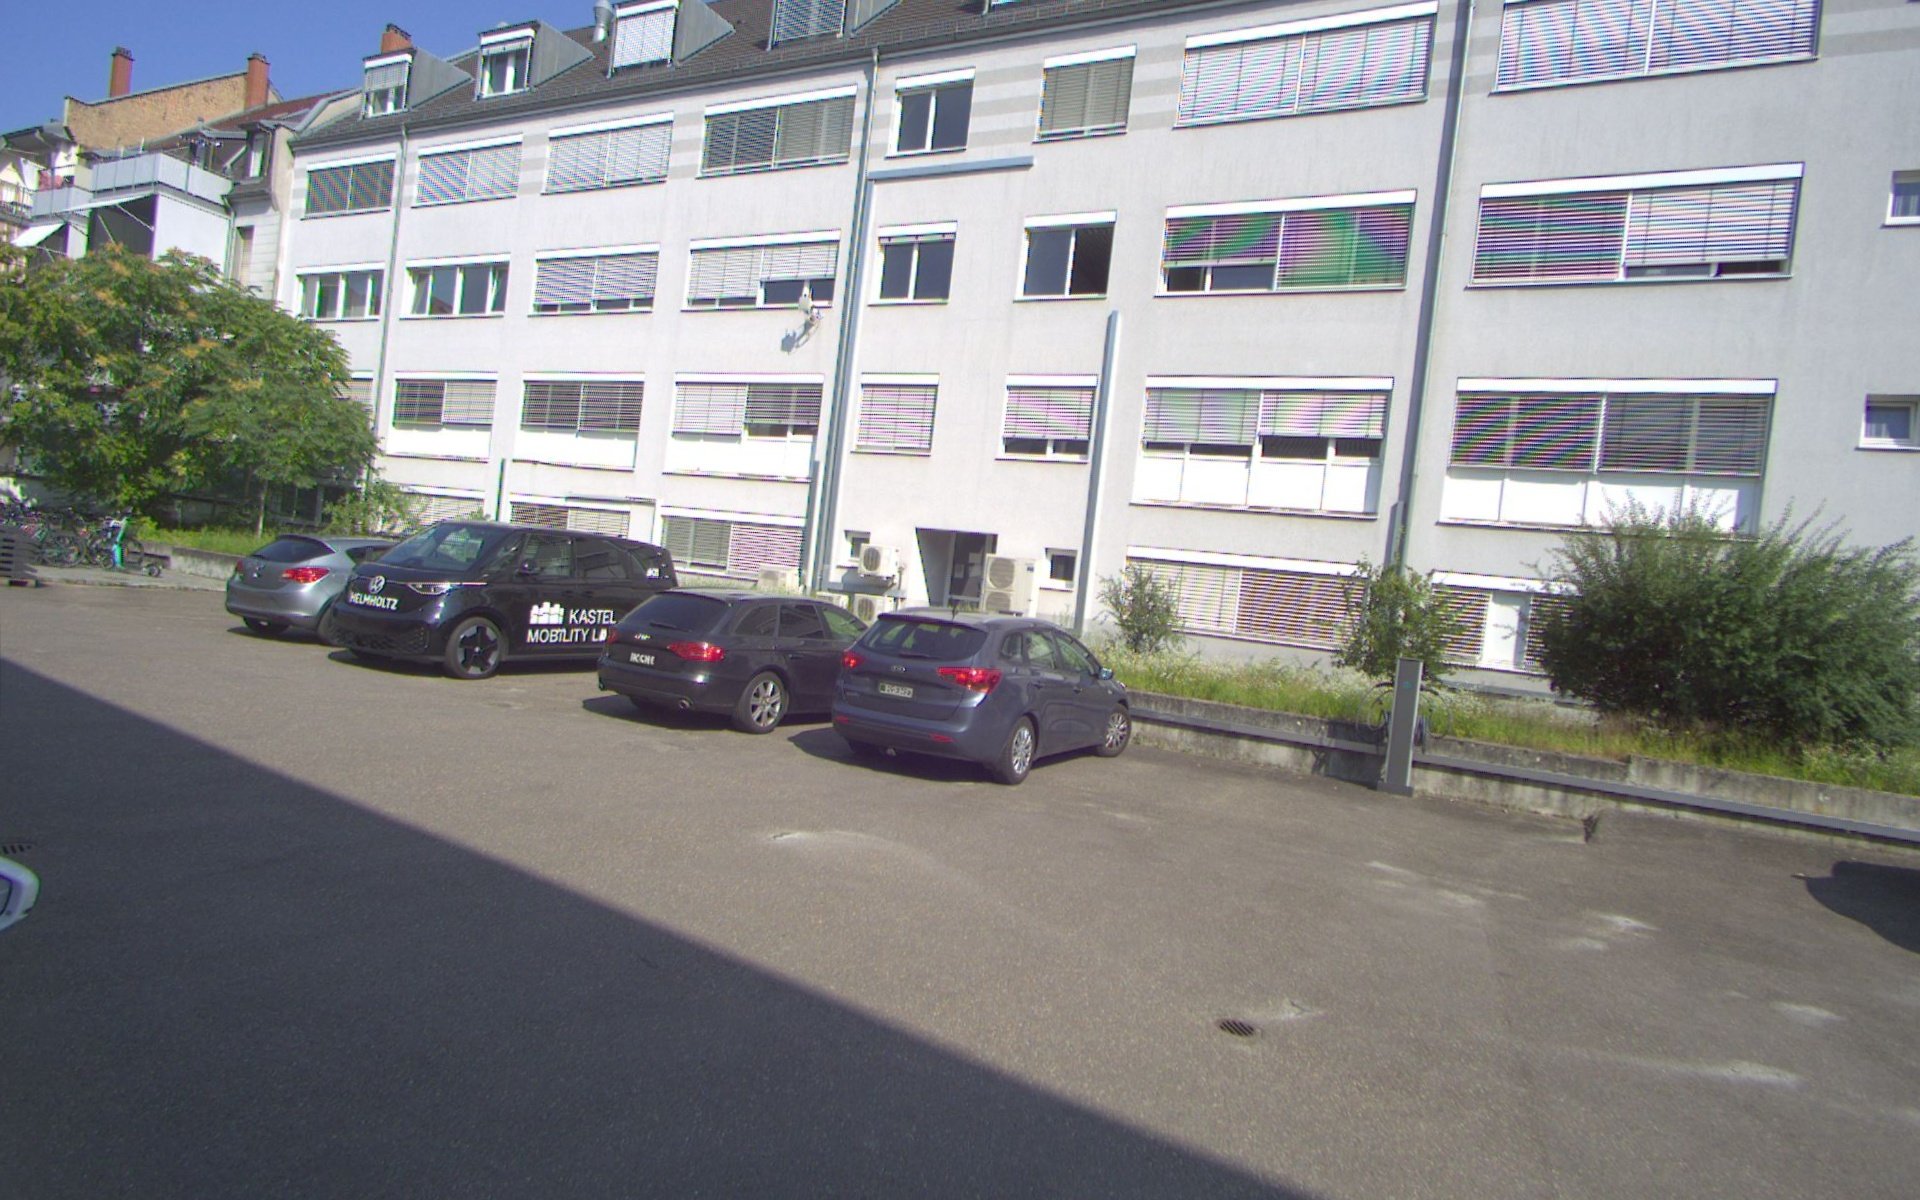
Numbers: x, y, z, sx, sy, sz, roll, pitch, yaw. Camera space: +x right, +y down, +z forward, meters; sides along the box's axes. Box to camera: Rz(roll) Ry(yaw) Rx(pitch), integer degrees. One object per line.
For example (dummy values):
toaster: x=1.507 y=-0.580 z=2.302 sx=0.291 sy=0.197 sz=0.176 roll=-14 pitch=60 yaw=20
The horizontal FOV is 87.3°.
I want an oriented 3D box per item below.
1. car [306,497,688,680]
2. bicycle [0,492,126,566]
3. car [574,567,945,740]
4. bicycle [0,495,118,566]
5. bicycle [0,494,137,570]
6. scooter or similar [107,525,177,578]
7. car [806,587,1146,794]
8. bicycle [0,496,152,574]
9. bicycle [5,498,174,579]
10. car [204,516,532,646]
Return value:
car: x=-5.857 y=-0.066 z=13.391 sx=1.880 sy=1.882 sz=4.346 roll=7 pitch=1 yaw=23
bicycle: x=-19.146 y=-1.493 z=21.098 sx=0.518 sy=1.261 sz=2.414 roll=7 pitch=-1 yaw=32
car: x=-2.044 y=0.605 z=11.547 sx=1.662 sy=1.455 sz=4.237 roll=7 pitch=0 yaw=31
bicycle: x=-19.682 y=-1.508 z=21.524 sx=0.518 sy=1.261 sz=2.414 roll=7 pitch=-1 yaw=32
bicycle: x=-18.644 y=-1.408 z=20.790 sx=0.518 sy=1.261 sz=2.414 roll=7 pitch=-1 yaw=32
scooter or similar: x=-16.660 y=-0.973 z=20.500 sx=0.982 sy=0.935 sz=0.360 roll=7 pitch=0 yaw=-5
car: x=0.395 y=0.836 z=10.310 sx=1.712 sy=1.496 sz=4.054 roll=7 pitch=0 yaw=28
bicycle: x=-18.007 y=-1.292 z=20.396 sx=0.518 sy=1.261 sz=2.414 roll=7 pitch=-1 yaw=32
bicycle: x=-17.317 y=-1.191 z=20.090 sx=0.518 sy=1.261 sz=2.414 roll=7 pitch=-1 yaw=32
car: x=-8.405 y=-0.189 z=14.714 sx=1.632 sy=1.484 sz=3.908 roll=7 pitch=0 yaw=19
